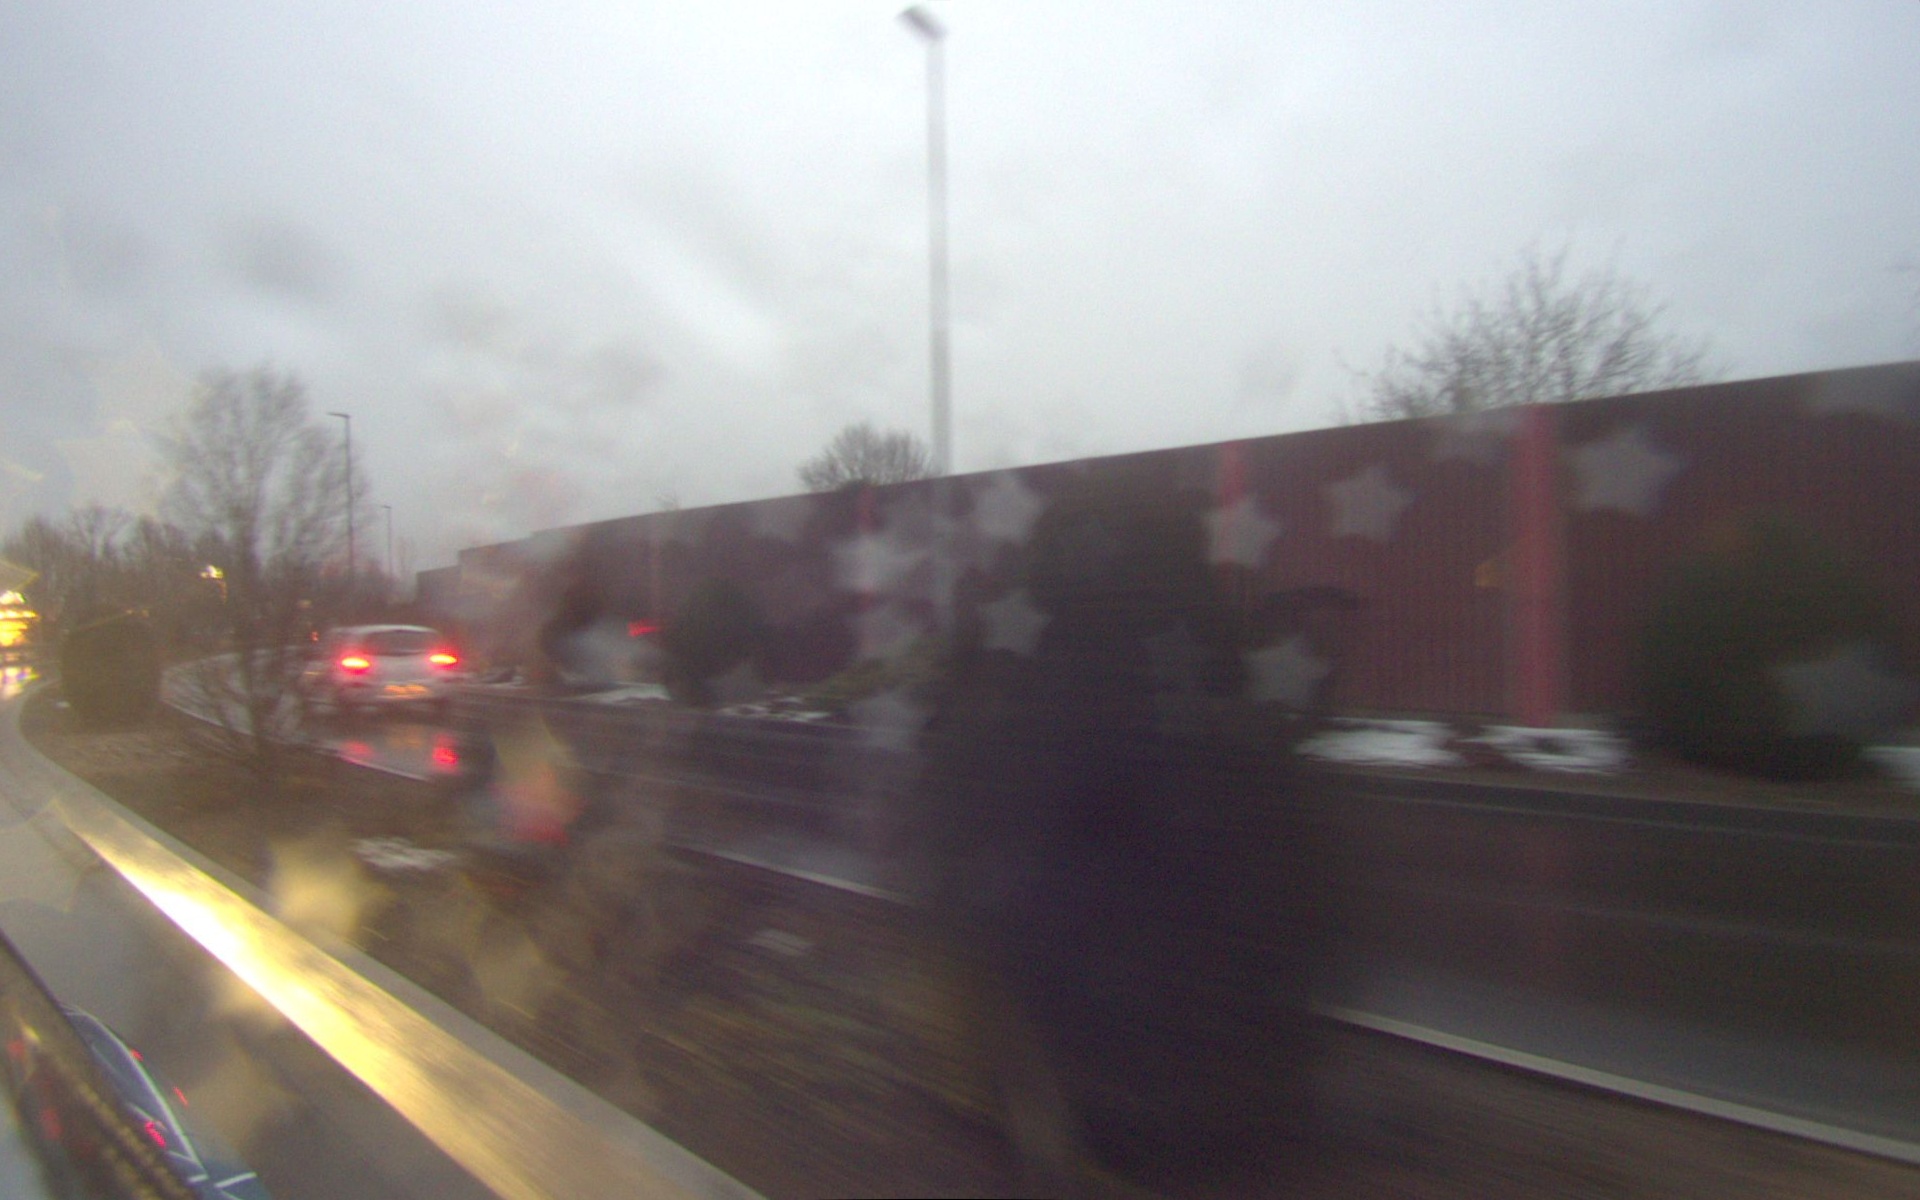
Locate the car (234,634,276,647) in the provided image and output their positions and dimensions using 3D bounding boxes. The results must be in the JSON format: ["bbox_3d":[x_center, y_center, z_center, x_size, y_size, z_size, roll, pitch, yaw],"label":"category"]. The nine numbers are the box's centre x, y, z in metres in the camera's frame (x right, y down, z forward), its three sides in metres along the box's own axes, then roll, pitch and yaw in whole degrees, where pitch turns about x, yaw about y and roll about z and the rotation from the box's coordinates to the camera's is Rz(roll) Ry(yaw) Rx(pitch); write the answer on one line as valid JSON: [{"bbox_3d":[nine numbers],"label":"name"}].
[{"bbox_3d":[-85.167,4.869,122.348,3.944,1.543,1.720,0,-1,-29],"label":"car"}]

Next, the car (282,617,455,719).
[{"bbox_3d":[-9.940,1.065,16.898,3.687,1.480,1.589,-2,-1,45],"label":"car"}]
